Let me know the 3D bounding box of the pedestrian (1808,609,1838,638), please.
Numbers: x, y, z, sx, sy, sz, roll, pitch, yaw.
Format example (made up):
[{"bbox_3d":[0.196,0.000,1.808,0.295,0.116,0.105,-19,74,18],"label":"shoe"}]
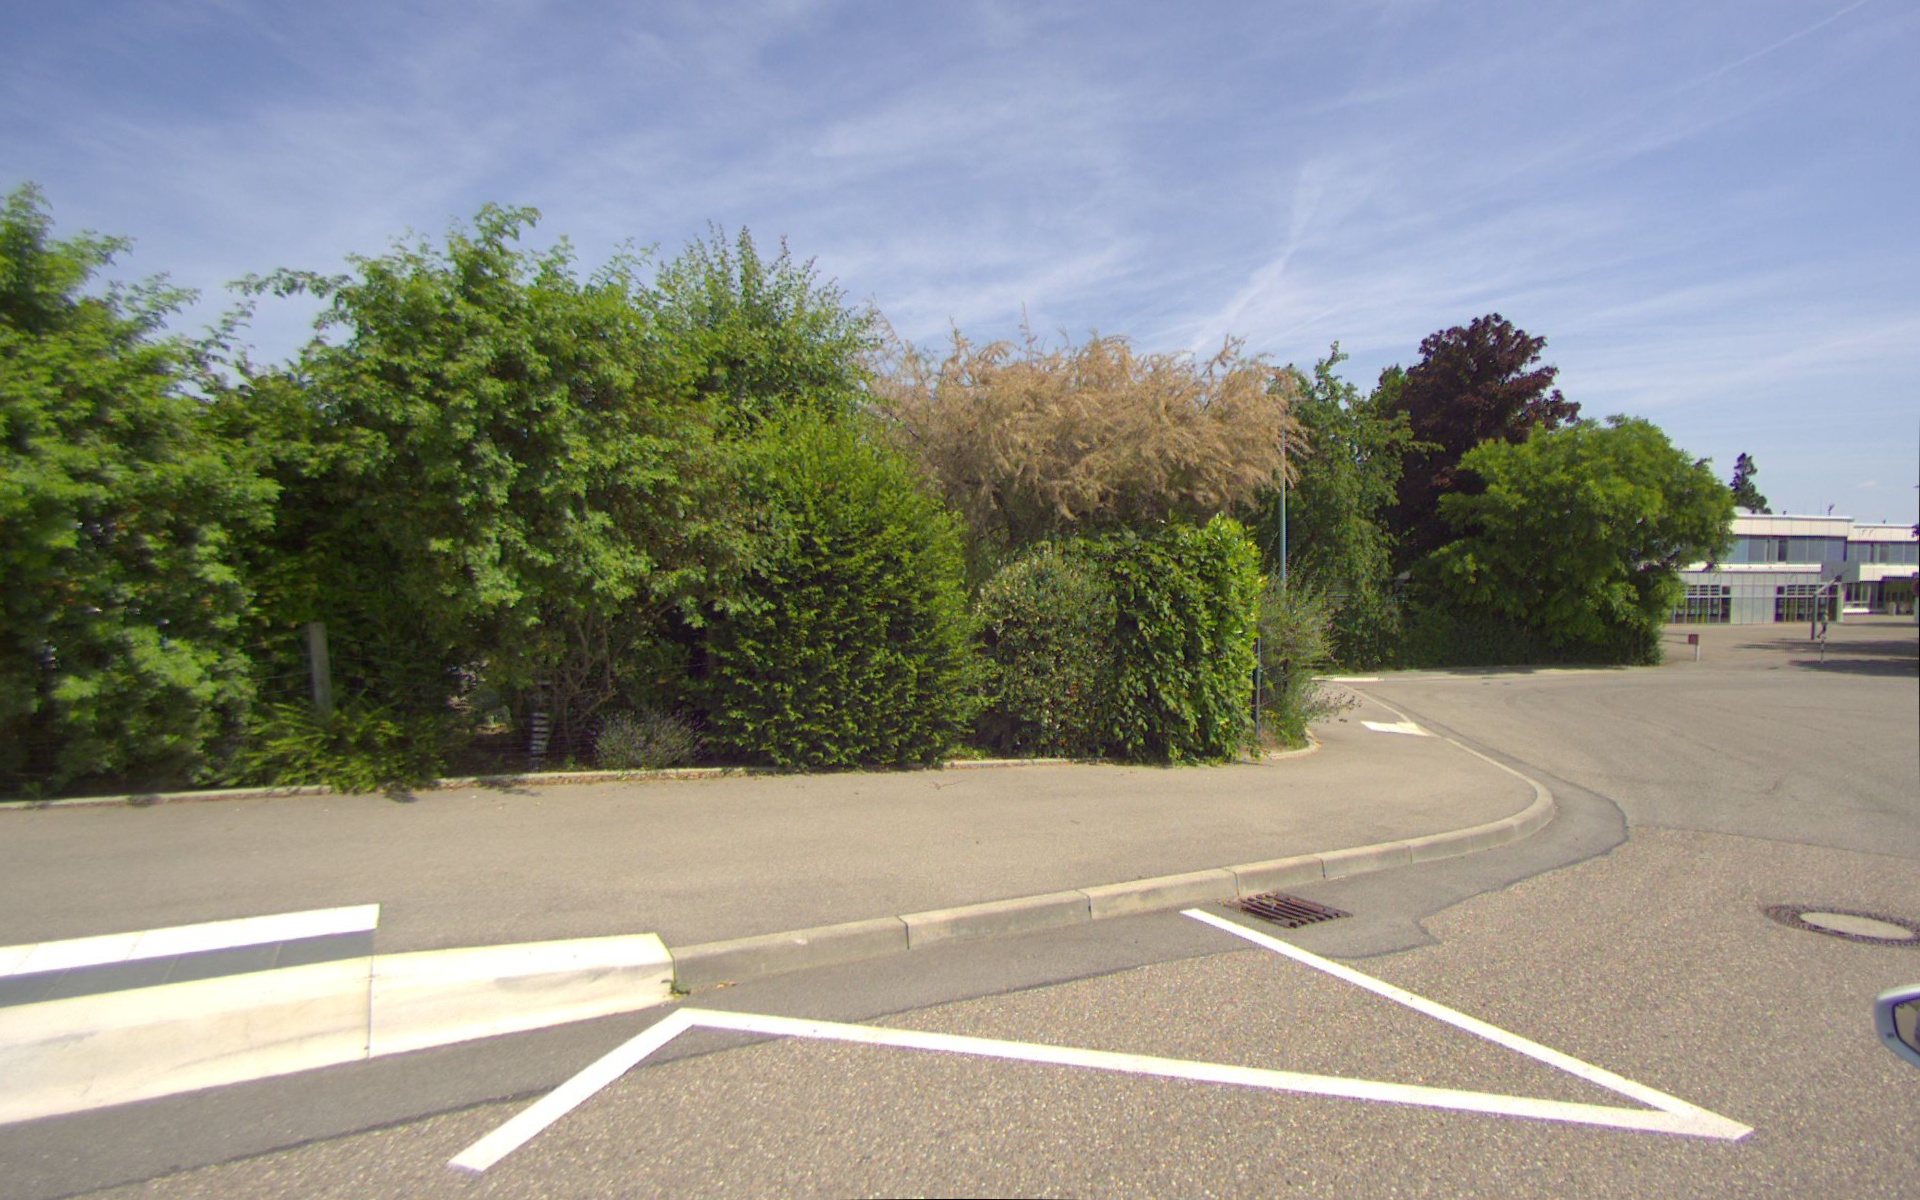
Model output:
[{"bbox_3d":[44.908,1.203,52.274,1.052,1.442,0.916,1,1,36],"label":"pedestrian"}]
